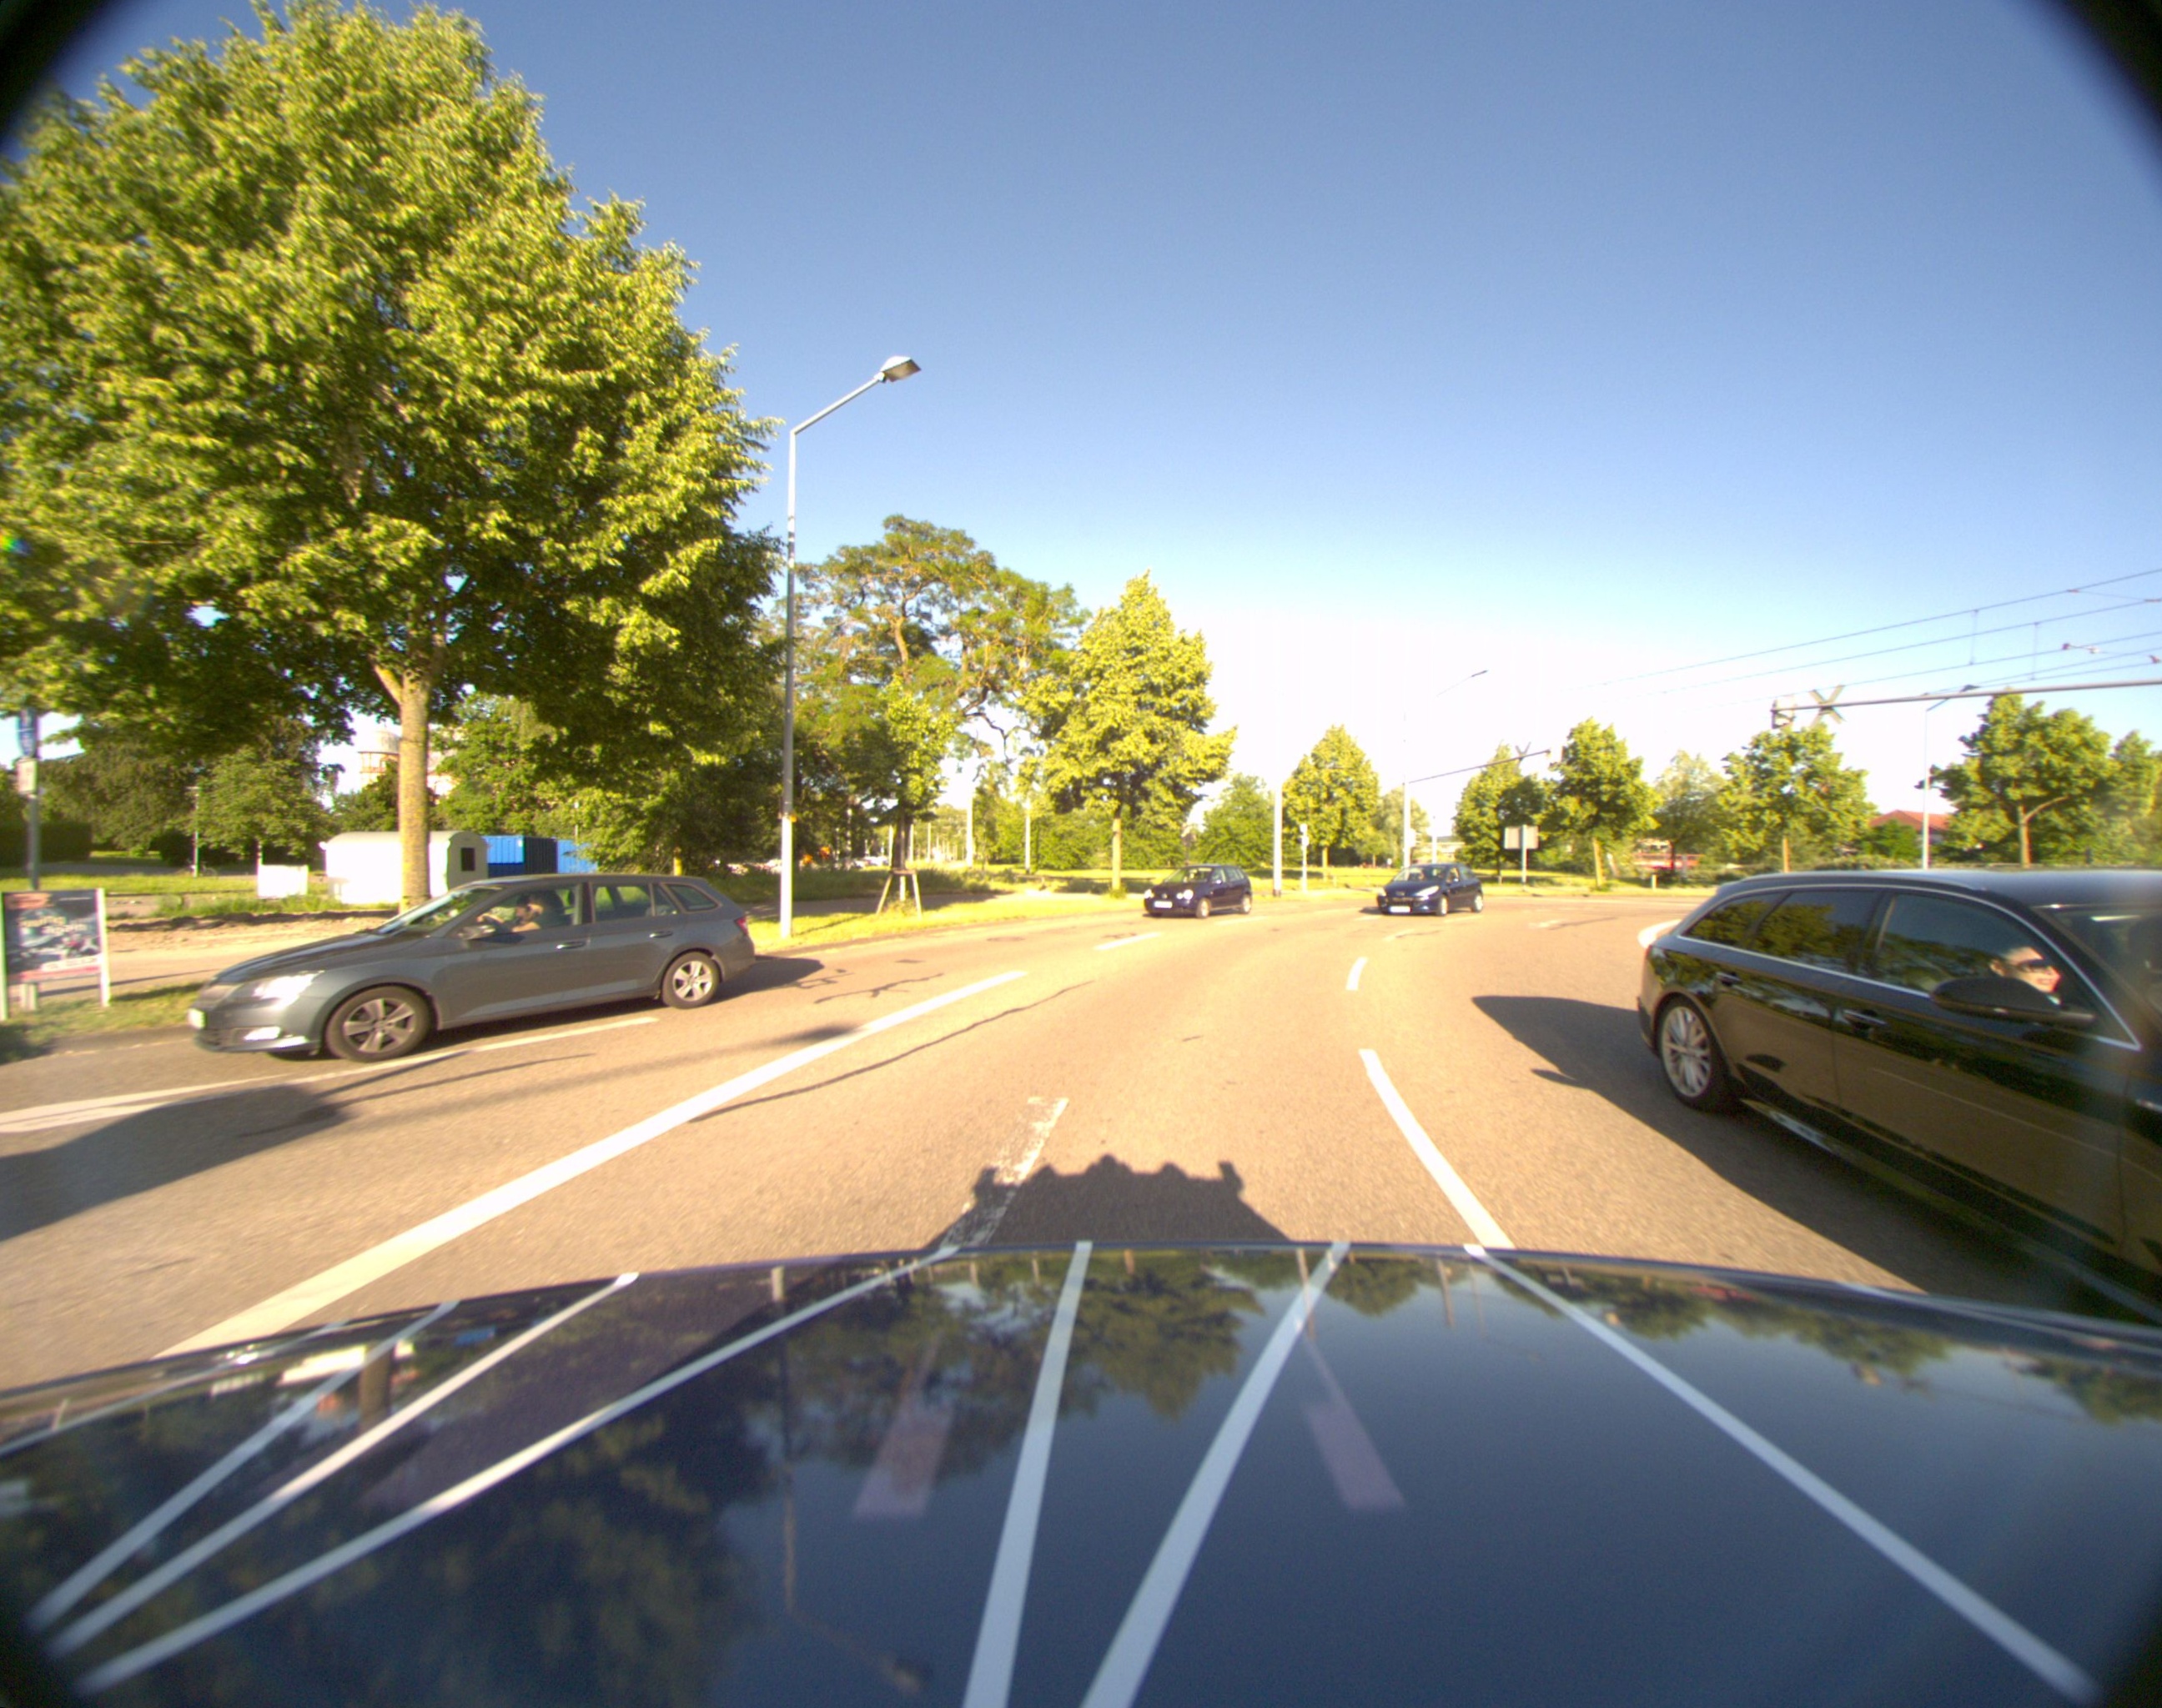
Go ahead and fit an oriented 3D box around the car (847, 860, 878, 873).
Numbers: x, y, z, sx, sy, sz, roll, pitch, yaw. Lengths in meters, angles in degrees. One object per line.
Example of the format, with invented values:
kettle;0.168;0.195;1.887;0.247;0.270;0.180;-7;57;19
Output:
car;-32.168;1.837;111.987;4.000;1.745;1.913;-1;-1;-8

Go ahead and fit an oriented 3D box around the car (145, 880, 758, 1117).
car;-5.479;1.032;7.221;1.715;1.427;4.160;-1;0;34

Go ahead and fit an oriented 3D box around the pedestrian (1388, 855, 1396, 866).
pedestrian;40.047;0.838;97.821;0.660;1.432;0.796;1;0;38

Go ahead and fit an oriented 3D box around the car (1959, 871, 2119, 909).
car;38.910;1.451;30.931;4.064;1.371;1.725;-2;-1;4

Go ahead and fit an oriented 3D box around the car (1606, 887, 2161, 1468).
car;4.029;0.935;2.793;1.795;1.434;5.023;-1;0;14

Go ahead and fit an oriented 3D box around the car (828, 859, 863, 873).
car;-31.024;1.601;100.170;4.000;1.745;1.913;-1;-1;-8

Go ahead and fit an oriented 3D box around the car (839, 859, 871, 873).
car;-31.285;1.695;105.203;4.000;1.745;1.913;-1;-1;-8

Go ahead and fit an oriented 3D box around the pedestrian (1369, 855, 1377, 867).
pedestrian;38.099;0.915;99.170;0.685;1.432;0.796;1;0;38

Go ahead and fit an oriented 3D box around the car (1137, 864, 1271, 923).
car;3.588;1.043;21.569;1.633;1.459;4.556;0;0;40

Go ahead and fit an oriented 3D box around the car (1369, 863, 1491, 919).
car;10.104;0.998;21.884;4.008;1.445;1.753;0;-1;-42

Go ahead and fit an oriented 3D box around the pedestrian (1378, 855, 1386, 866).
pedestrian;39.200;0.879;98.818;0.772;1.432;0.796;1;0;38

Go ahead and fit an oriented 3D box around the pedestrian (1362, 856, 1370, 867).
pedestrian;37.497;0.947;100.023;0.685;1.432;0.796;1;0;38

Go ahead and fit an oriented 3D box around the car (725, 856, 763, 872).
car;-42.884;1.242;96.815;4.000;1.884;1.999;-1;-1;-8
